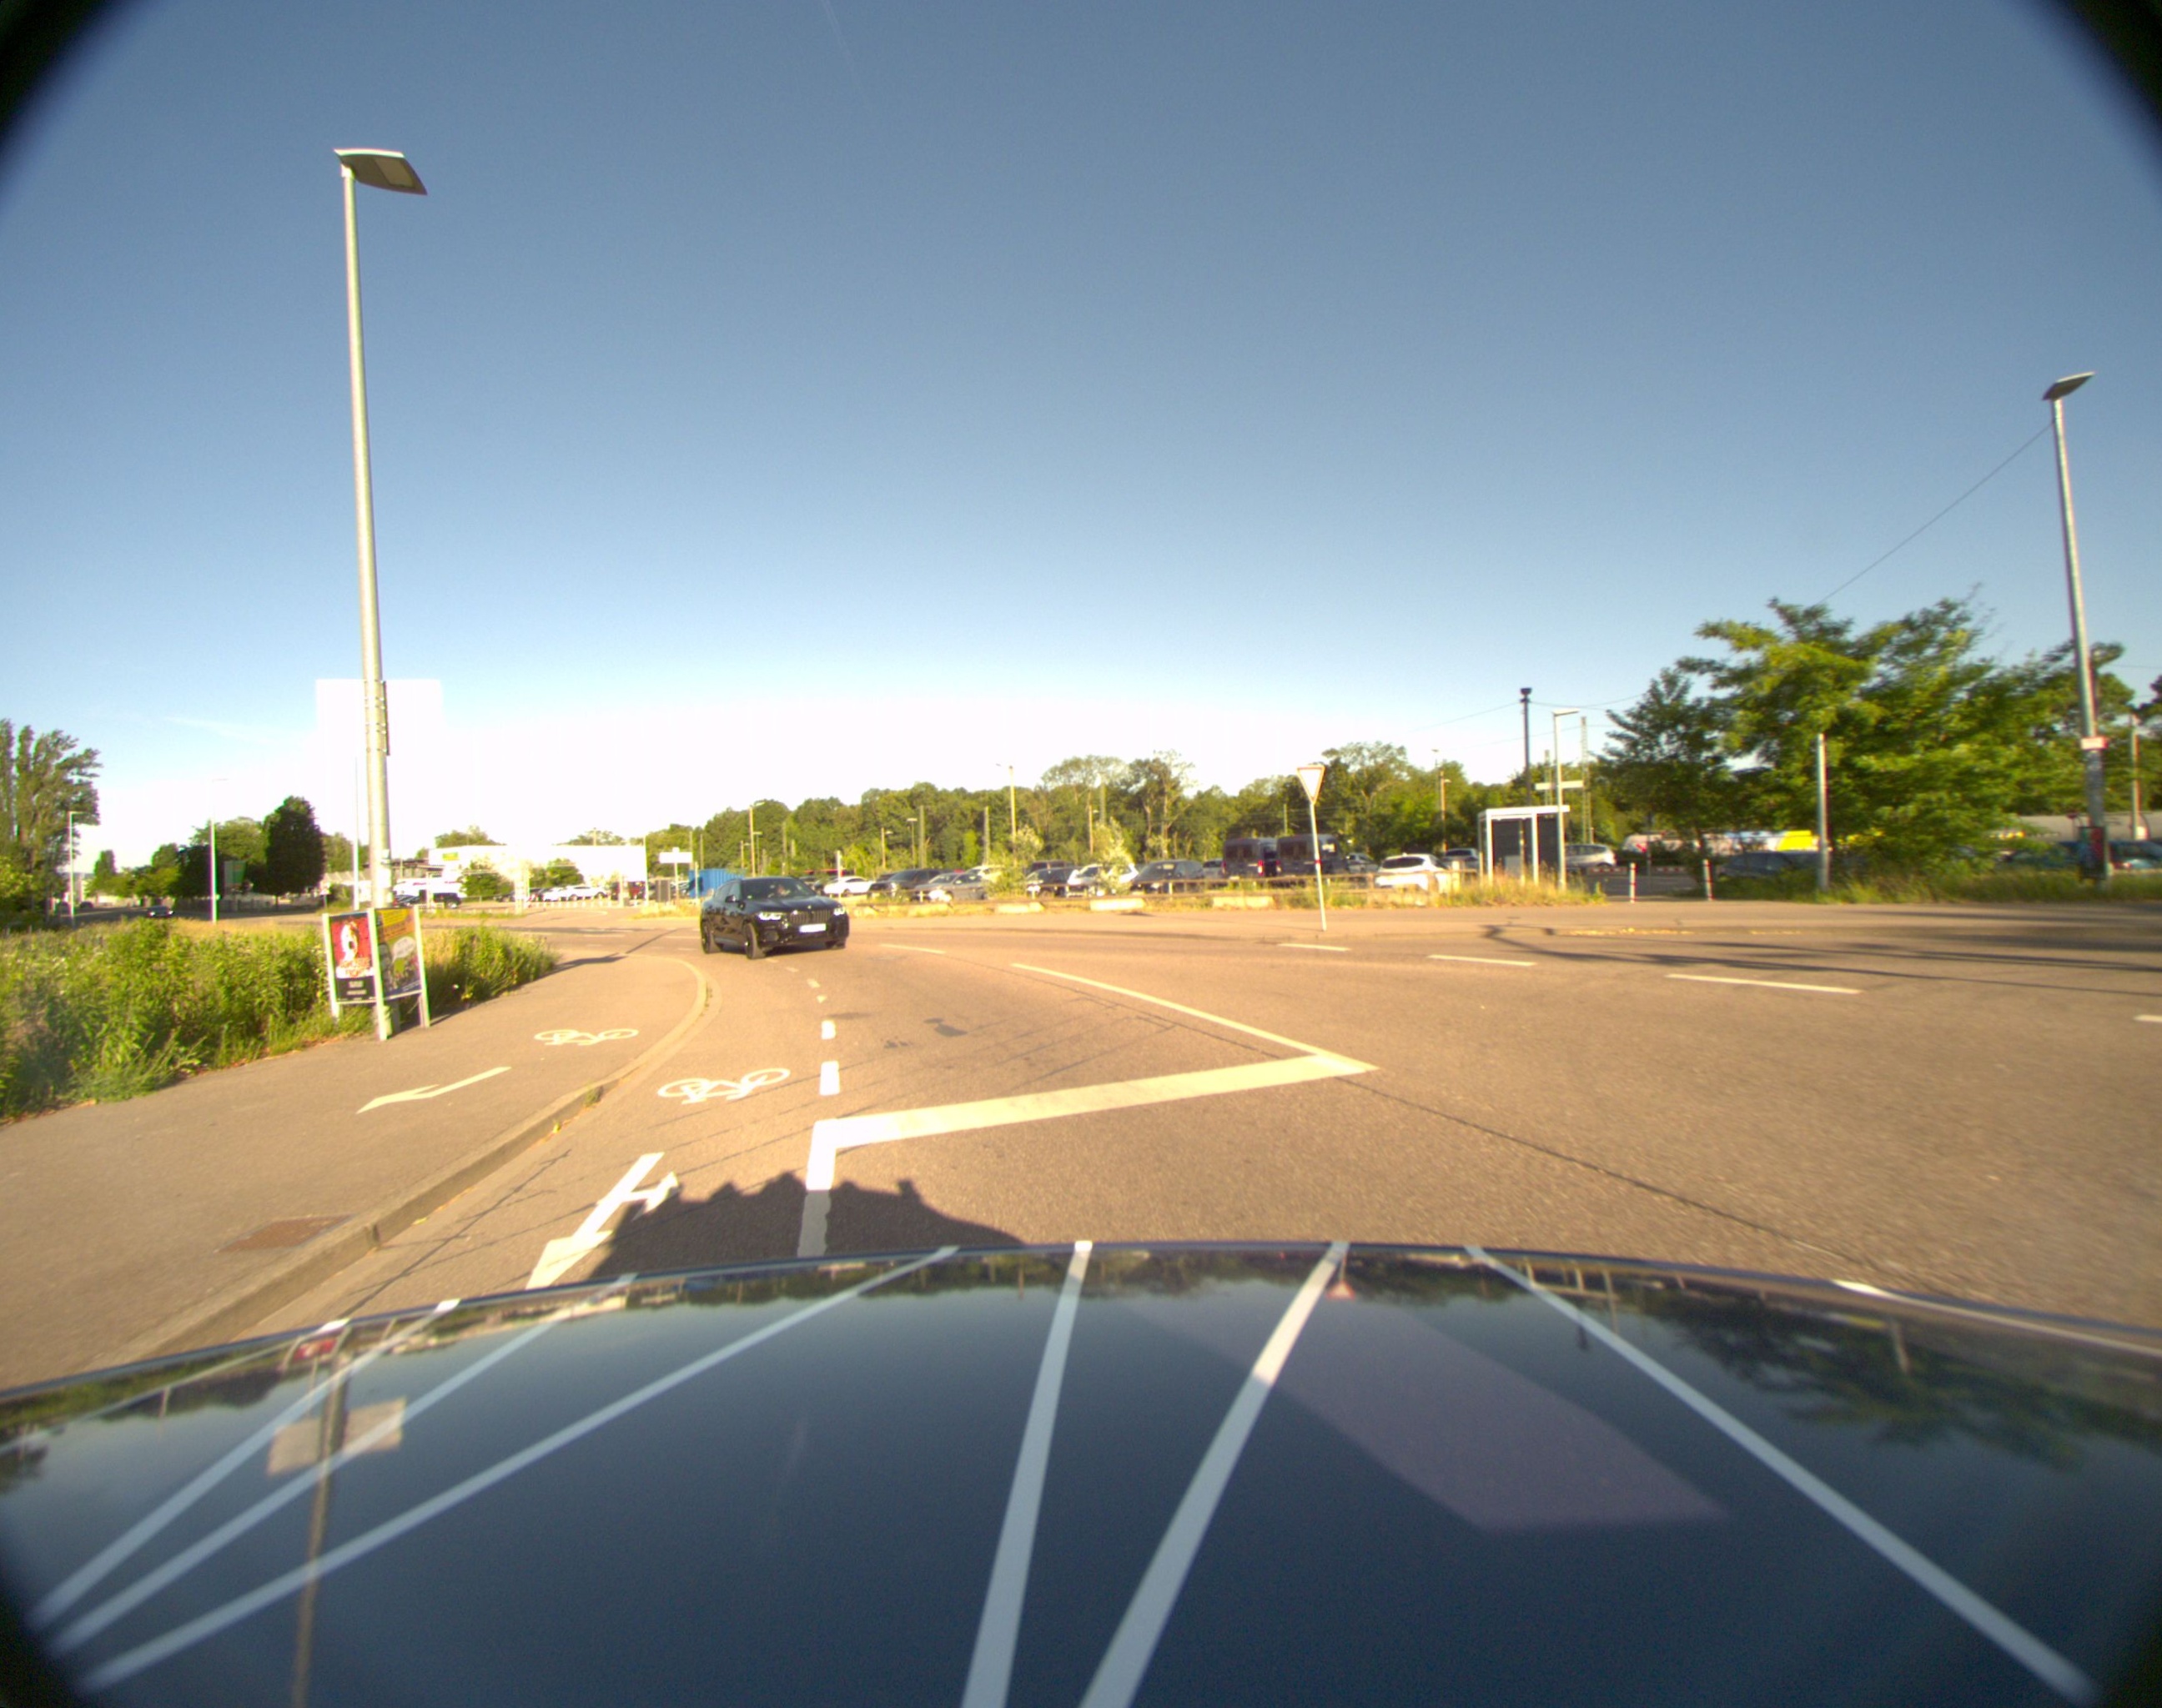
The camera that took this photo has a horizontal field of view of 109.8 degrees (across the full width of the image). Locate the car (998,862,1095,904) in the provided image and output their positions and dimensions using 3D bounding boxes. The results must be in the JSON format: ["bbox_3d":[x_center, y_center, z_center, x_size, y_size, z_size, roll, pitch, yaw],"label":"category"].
[{"bbox_3d":[-1.371,1.170,31.564,1.851,1.506,4.008,-3,0,36],"label":"car"}]

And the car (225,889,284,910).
[{"bbox_3d":[-125.758,6.877,115.651,1.995,2.686,5.784,-3,0,36],"label":"car"}]

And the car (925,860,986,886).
[{"bbox_3d":[-8.297,1.241,50.576,1.721,1.496,4.007,-2,1,33],"label":"car"}]

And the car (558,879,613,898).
[{"bbox_3d":[-52.623,3.642,80.745,1.865,1.768,4.455,-3,0,33],"label":"car"}]

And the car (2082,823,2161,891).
[{"bbox_3d":[28.078,0.062,18.809,1.838,1.673,4.004,-3,0,13],"label":"car"}]

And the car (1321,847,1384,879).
[{"bbox_3d":[14.649,0.446,40.805,1.981,1.490,4.211,-3,0,37],"label":"car"}]

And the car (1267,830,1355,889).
[{"bbox_3d":[11.017,0.201,36.078,2.395,2.502,5.522,-3,0,33],"label":"car"}]

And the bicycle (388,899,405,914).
[{"bbox_3d":[-53.806,4.132,59.717,1.720,1.058,0.559,-3,1,36],"label":"bicycle"}]

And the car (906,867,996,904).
[{"bbox_3d":[-5.859,1.421,34.694,1.834,1.445,3.932,-3,0,31],"label":"car"}]

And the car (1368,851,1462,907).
[{"bbox_3d":[10.661,0.741,24.074,1.886,1.502,4.282,-3,0,35],"label":"car"}]

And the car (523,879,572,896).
[{"bbox_3d":[-59.268,3.704,84.514,1.761,1.479,4.019,-3,1,31],"label":"car"}]

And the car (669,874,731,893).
[{"bbox_3d":[-33.850,2.613,67.607,1.865,1.369,4.454,-3,1,33],"label":"car"}]

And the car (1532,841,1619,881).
[{"bbox_3d":[23.742,0.299,36.686,2.173,1.720,4.497,-3,0,15],"label":"car"}]

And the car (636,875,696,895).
[{"bbox_3d":[-38.532,2.872,70.634,1.916,1.436,4.455,-3,1,41],"label":"car"}]

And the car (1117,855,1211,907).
[{"bbox_3d":[3.203,0.962,28.481,1.868,1.645,4.152,-3,0,31],"label":"car"}]

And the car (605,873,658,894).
[{"bbox_3d":[-44.920,2.944,75.923,1.864,1.767,4.083,-2,1,42],"label":"car"}]

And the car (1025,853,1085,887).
[{"bbox_3d":[-1.517,0.944,45.628,1.767,1.724,3.785,-3,1,29],"label":"car"}]

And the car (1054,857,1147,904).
[{"bbox_3d":[0.859,1.014,30.075,1.882,1.601,4.065,-3,0,31],"label":"car"}]

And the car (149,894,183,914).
[{"bbox_3d":[-101.021,5.469,83.866,3.989,2.002,2.004,-3,0,35],"label":"car"}]

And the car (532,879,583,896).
[{"bbox_3d":[-57.040,3.598,82.886,1.761,1.479,4.164,-3,1,31],"label":"car"}]

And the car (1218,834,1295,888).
[{"bbox_3d":[8.695,0.317,37.375,2.123,2.453,4.490,-3,0,33],"label":"car"}]

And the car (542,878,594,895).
[{"bbox_3d":[-54.955,3.501,81.500,1.757,1.477,4.165,-3,1,31],"label":"car"}]

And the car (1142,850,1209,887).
[{"bbox_3d":[5.120,0.767,40.771,1.823,1.572,4.006,-3,3,35],"label":"car"}]

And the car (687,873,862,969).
[{"bbox_3d":[-6.940,1.358,16.885,2.052,1.704,4.738,-4,1,-41],"label":"car"}]

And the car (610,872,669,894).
[{"bbox_3d":[-42.705,2.762,73.585,1.864,1.767,4.455,-2,1,42],"label":"car"}]

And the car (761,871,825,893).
[{"bbox_3d":[-22.902,2.192,60.574,1.865,1.421,4.454,-3,1,33],"label":"car"}]

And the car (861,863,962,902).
[{"bbox_3d":[-8.051,1.364,36.479,2.063,1.732,4.548,-3,-2,34],"label":"car"}]

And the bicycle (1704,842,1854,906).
[{"bbox_3d":[19.325,0.533,21.177,0.907,1.607,2.951,-3,0,-19],"label":"bicycle"}]

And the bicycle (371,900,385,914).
[{"bbox_3d":[-55.887,4.212,60.409,1.561,1.118,0.504,-3,1,36],"label":"bicycle"}]

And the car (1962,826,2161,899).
[{"bbox_3d":[25.907,0.182,19.753,2.010,1.655,3.855,-3,0,13],"label":"car"}]

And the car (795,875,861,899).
[{"bbox_3d":[-18.926,2.461,57.008,1.865,1.434,4.455,-3,0,33],"label":"car"}]

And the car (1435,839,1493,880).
[{"bbox_3d":[19.098,0.256,37.784,1.981,1.798,4.210,-3,0,34],"label":"car"}]

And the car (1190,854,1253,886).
[{"bbox_3d":[7.469,0.833,40.240,1.829,1.499,3.758,-3,0,35],"label":"car"}]

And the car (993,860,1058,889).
[{"bbox_3d":[-3.403,1.255,47.059,1.886,1.479,3.950,-3,1,35],"label":"car"}]

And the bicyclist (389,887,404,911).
[{"bbox_3d":[-53.854,3.564,59.776,0.851,1.860,0.570,-2,1,35],"label":"bicyclist"}]

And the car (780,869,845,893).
[{"bbox_3d":[-20.759,2.082,58.991,1.865,1.457,4.454,-3,1,33],"label":"car"}]

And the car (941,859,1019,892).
[{"bbox_3d":[-6.344,1.355,48.235,2.034,1.685,4.710,-3,1,38],"label":"car"}]

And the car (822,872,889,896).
[{"bbox_3d":[-16.483,2.180,55.742,1.865,1.369,4.454,-3,1,33],"label":"car"}]

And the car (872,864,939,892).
[{"bbox_3d":[-12.089,1.642,52.511,1.981,1.580,4.210,-3,1,33],"label":"car"}]

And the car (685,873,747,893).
[{"bbox_3d":[-31.844,2.515,66.390,1.865,1.369,4.454,-3,1,33],"label":"car"}]

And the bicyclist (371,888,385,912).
[{"bbox_3d":[-55.880,3.647,60.405,0.851,1.860,0.570,-2,1,35],"label":"bicyclist"}]
